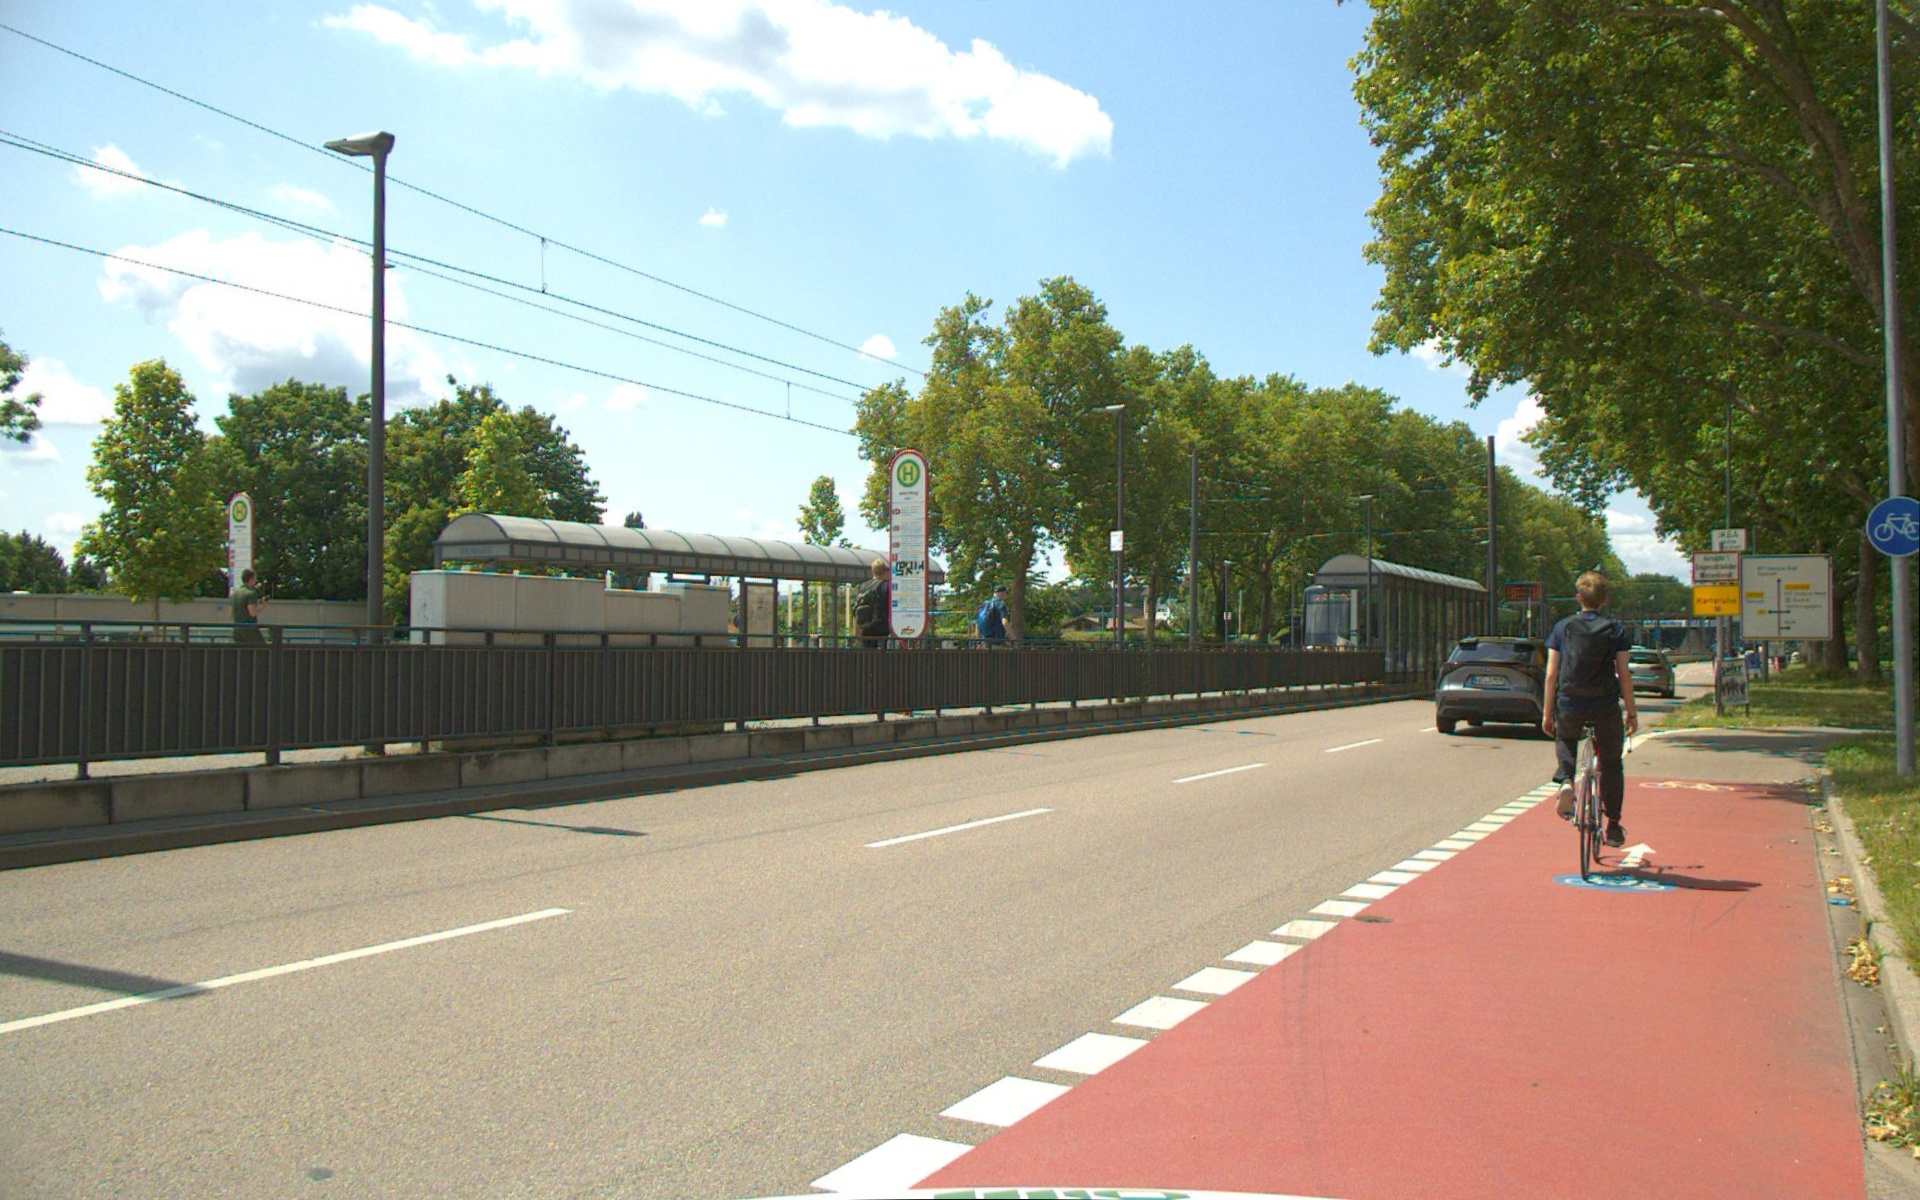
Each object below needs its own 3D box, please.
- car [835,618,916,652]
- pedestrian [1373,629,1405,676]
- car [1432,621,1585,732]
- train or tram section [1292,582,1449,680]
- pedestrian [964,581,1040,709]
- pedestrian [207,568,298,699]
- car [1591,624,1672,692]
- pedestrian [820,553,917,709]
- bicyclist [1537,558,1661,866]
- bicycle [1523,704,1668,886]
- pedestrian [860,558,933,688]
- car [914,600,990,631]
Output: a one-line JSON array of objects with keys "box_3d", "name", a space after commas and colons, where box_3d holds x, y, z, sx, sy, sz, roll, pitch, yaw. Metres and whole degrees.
[{"box_3d": [-4.440, 1.826, 86.922, 3.841, 1.691, 1.906, 1, 0, 29], "name": "car"}, {"box_3d": [11.586, 1.413, 44.679, 0.680, 1.211, 0.641, 1, -1, 28], "name": "pedestrian"}, {"box_3d": [9.470, 1.288, 28.328, 1.861, 1.704, 4.514, 0, -2, 27], "name": "car"}, {"box_3d": [15.656, 1.203, 61.983, 2.977, 3.242, 14.087, 0, -2, 25], "name": "train or tram section"}, {"box_3d": [0.602, 0.635, 23.671, 0.720, 1.786, 0.928, 0, -1, 28], "name": "pedestrian"}, {"box_3d": [-10.183, 0.477, 23.830, 0.720, 1.839, 0.928, 0, -1, 28], "name": "pedestrian"}, {"box_3d": [21.259, 1.776, 52.258, 1.955, 2.024, 4.356, 0, -1, 28], "name": "car"}, {"box_3d": [-1.183, 0.389, 21.489, 0.856, 1.973, 0.993, 0, 0, 27], "name": "pedestrian"}, {"box_3d": [4.134, 0.689, 10.675, 0.598, 1.878, 0.922, 1, -1, 28], "name": "bicyclist"}, {"box_3d": [4.175, 1.212, 10.774, 0.608, 1.017, 2.020, 2, -2, 28], "name": "bicycle"}, {"box_3d": [-0.950, 0.338, 24.687, 0.864, 1.904, 0.670, 1, 0, -30], "name": "pedestrian"}, {"box_3d": [-0.452, 0.892, 93.810, 3.841, 1.691, 1.906, 1, 0, 29], "name": "car"}]
